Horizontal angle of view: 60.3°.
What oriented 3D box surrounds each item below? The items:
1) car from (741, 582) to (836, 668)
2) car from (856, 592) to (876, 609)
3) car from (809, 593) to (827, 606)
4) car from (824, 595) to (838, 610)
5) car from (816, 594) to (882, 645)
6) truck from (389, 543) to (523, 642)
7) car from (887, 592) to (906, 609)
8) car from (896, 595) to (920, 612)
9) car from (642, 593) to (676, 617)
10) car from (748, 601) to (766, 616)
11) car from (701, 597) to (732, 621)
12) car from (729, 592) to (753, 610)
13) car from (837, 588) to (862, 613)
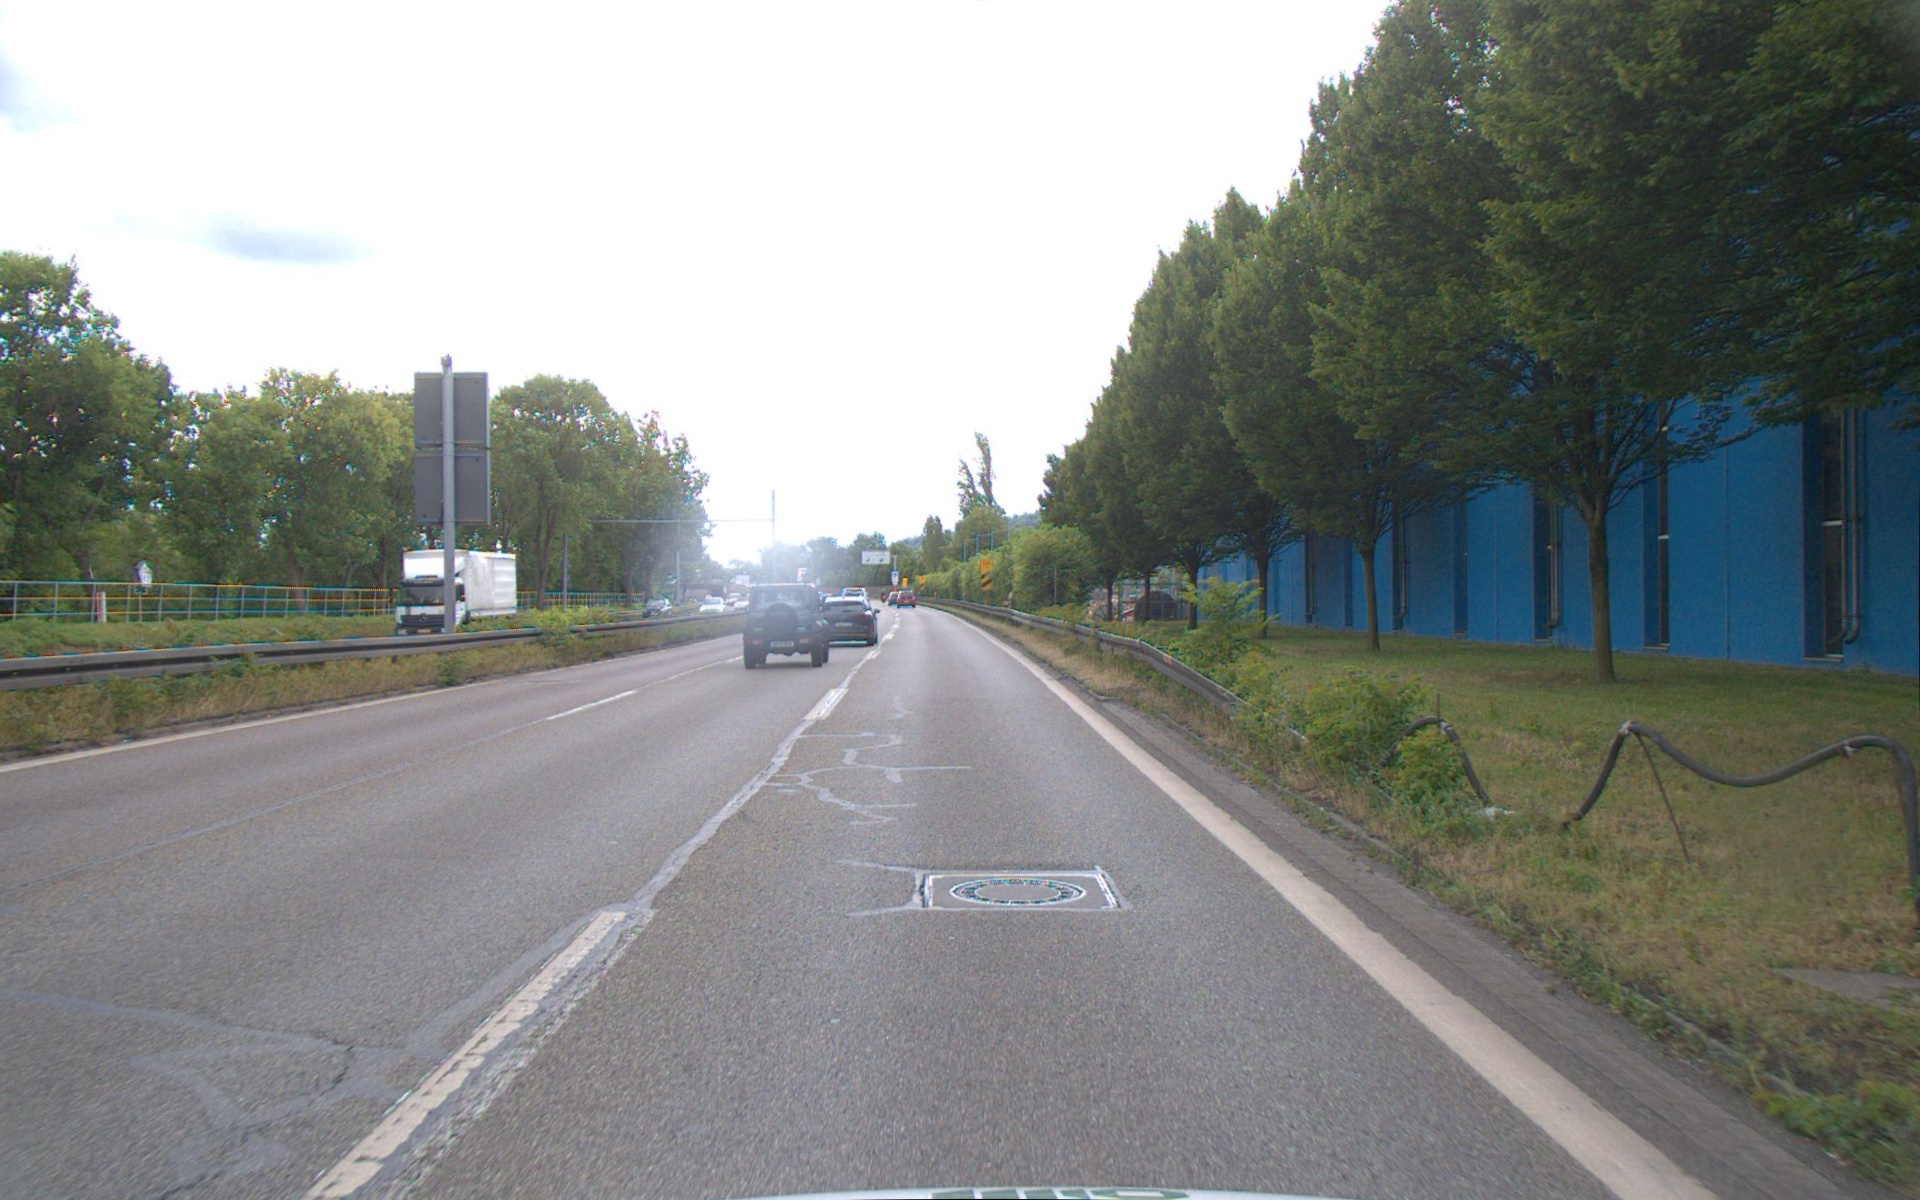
[{"bbox_3d":[-3.592,0.473,35.194,1.663,1.715,3.999,0,1,-1],"label":"car"},{"bbox_3d":[-11.984,0.062,210.026,1.976,1.968,4.890,-2,0,-9],"label":"car"},{"bbox_3d":[-21.245,-0.054,247.780,1.978,1.968,4.885,-2,0,-12],"label":"car"},{"bbox_3d":[-15.914,0.250,204.188,1.665,1.772,4.388,-2,0,-5],"label":"car"},{"bbox_3d":[-3.296,0.559,49.788,1.808,1.448,4.898,0,0,-2],"label":"car"},{"bbox_3d":[-20.137,-0.278,66.740,2.831,3.641,9.581,-1,0,-3],"label":"truck"},{"bbox_3d":[-6.786,0.030,176.376,1.665,1.772,4.386,-1,0,-7],"label":"car"},{"bbox_3d":[-4.916,0.344,154.565,1.936,1.448,4.895,-2,0,-5],"label":"car"},{"bbox_3d":[-21.822,0.350,119.868,1.691,1.633,4.041,-3,0,-1],"label":"car"},{"bbox_3d":[-24.691,1.052,201.086,1.691,1.806,3.740,-2,0,-1],"label":"car"},{"bbox_3d":[-18.224,0.663,123.881,1.663,1.633,4.537,-3,0,-1],"label":"car"},{"bbox_3d":[-21.968,0.069,166.060,1.829,1.704,4.717,-2,0,-2],"label":"car"},{"bbox_3d":[-8.034,0.025,120.586,1.663,1.772,3.999,-1,0,-2],"label":"car"}]
